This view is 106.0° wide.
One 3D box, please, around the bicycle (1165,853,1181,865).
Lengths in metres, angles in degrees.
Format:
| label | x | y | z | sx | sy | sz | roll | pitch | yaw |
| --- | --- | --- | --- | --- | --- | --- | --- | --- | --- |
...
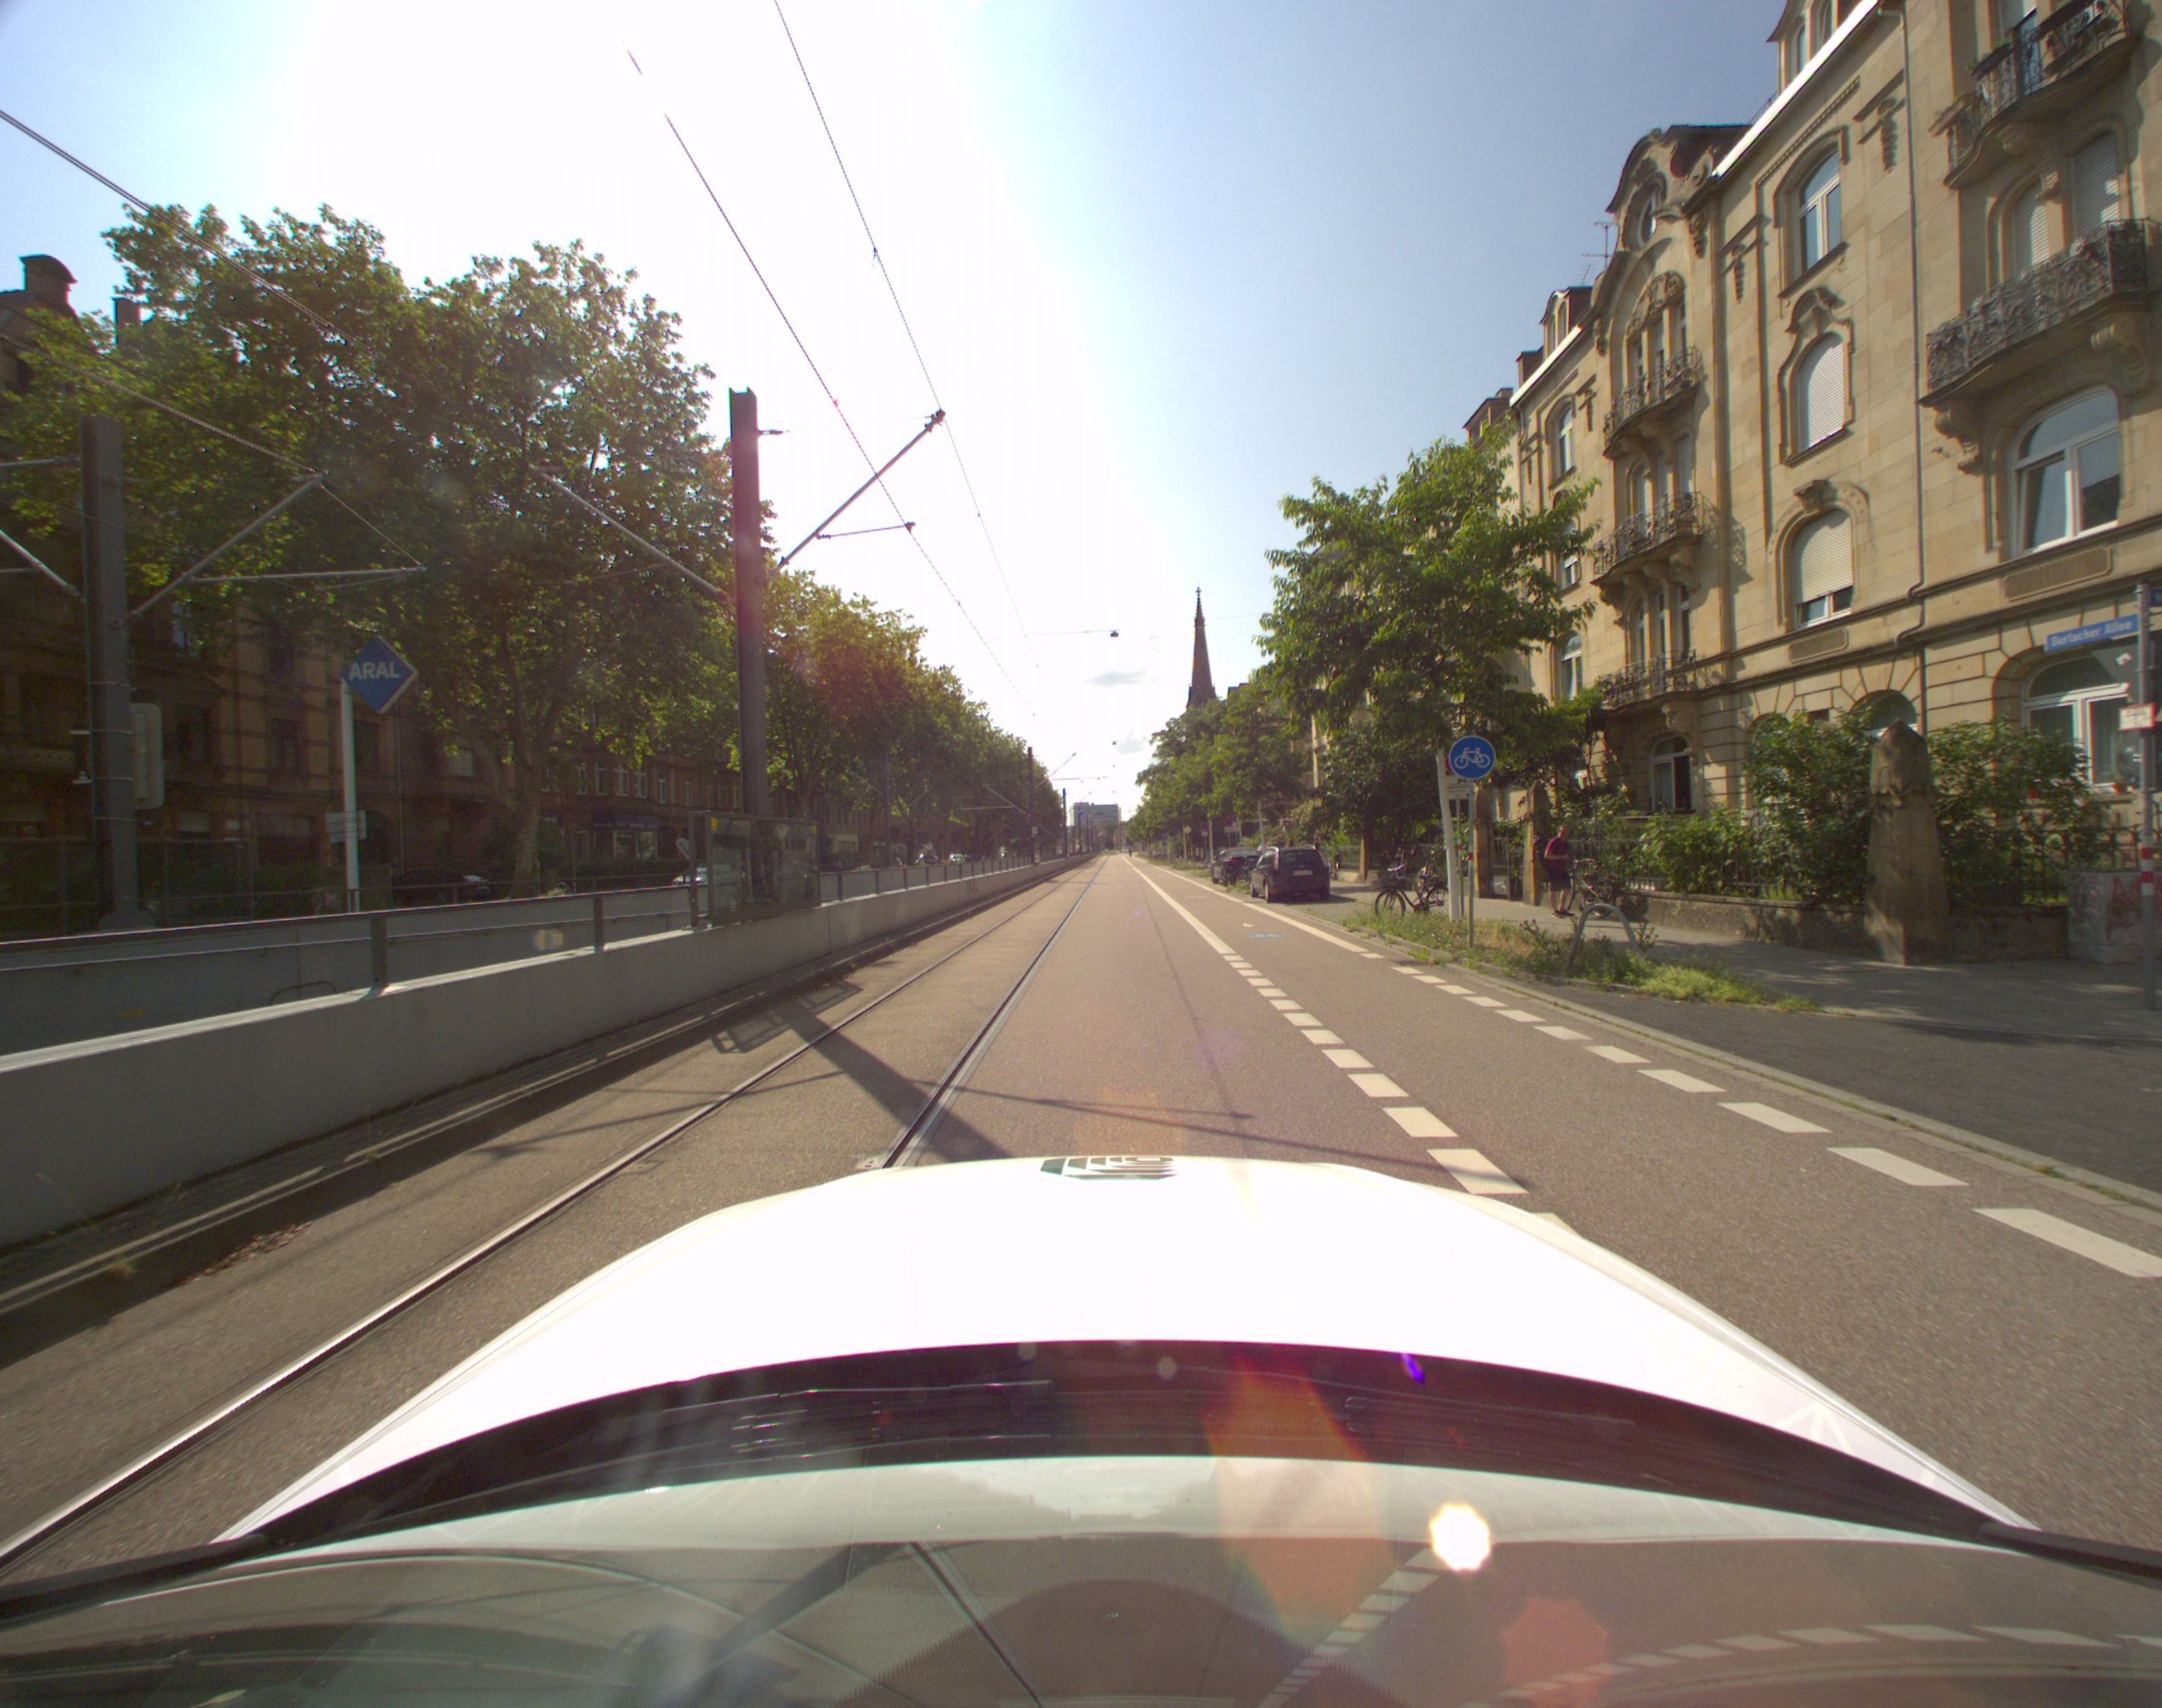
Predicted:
| label | x | y | z | sx | sy | sz | roll | pitch | yaw |
| --- | --- | --- | --- | --- | --- | --- | --- | --- | --- |
| bicycle | 8.476 | 0.495 | 75.027 | 0.651 | 1.038 | 1.810 | -4 | 0 | -19 |

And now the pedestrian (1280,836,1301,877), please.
| label | x | y | z | sx | sy | sz | roll | pitch | yaw |
| --- | --- | --- | --- | --- | --- | --- | --- | --- | --- |
| pedestrian | 8.826 | 0.091 | 34.375 | 0.530 | 1.676 | 0.571 | -4 | 0 | -16 |

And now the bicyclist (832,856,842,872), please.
| label | x | y | z | sx | sy | sz | roll | pitch | yaw |
| --- | --- | --- | --- | --- | --- | --- | --- | --- | --- |
| bicyclist | -19.903 | 0.807 | 66.401 | 0.533 | 1.232 | 0.724 | -2 | 0 | 2 |

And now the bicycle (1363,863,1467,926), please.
| label | x | y | z | sx | sy | sz | roll | pitch | yaw |
| --- | --- | --- | --- | --- | --- | --- | --- | --- | --- |
| bicycle | 6.133 | 0.727 | 14.982 | 1.702 | 1.069 | 0.470 | -2 | 0 | -4 |

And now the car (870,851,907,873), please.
| label | x | y | z | sx | sy | sz | roll | pitch | yaw |
| --- | --- | --- | --- | --- | --- | --- | --- | --- | --- |
| car | -16.554 | 0.674 | 70.178 | 1.708 | 1.691 | 3.739 | -4 | 1 | 9 |

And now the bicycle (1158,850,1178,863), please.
| label | x | y | z | sx | sy | sz | roll | pitch | yaw |
| --- | --- | --- | --- | --- | --- | --- | --- | --- | --- |
| bicycle | 8.589 | 0.282 | 80.204 | 1.816 | 1.145 | 0.649 | -4 | 0 | -9 |

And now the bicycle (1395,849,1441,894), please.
| label | x | y | z | sx | sy | sz | roll | pitch | yaw |
| --- | --- | --- | --- | --- | --- | --- | --- | --- | --- |
| bicycle | 9.234 | 0.453 | 22.381 | 0.426 | 1.139 | 2.024 | -5 | 0 | 2 |

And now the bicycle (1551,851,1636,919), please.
| label | x | y | z | sx | sy | sz | roll | pitch | yaw |
| --- | --- | --- | --- | --- | --- | --- | --- | --- | --- |
| bicycle | 9.014 | 0.510 | 14.398 | 0.468 | 1.108 | 1.712 | -2 | 0 | 2 |

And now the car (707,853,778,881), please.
| label | x | y | z | sx | sy | sz | roll | pitch | yaw |
| --- | --- | --- | --- | --- | --- | --- | --- | --- | --- |
| car | -25.338 | 0.972 | 61.060 | 4.386 | 1.918 | 2.000 | -2 | 0 | 0 |

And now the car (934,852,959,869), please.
| label | x | y | z | sx | sy | sz | roll | pitch | yaw |
| --- | --- | --- | --- | --- | --- | --- | --- | --- | --- |
| car | -15.396 | 0.767 | 93.356 | 1.831 | 1.727 | 4.003 | -4 | 0 | 2 |

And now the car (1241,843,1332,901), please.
| label | x | y | z | sx | sy | sz | roll | pitch | yaw |
| --- | --- | --- | --- | --- | --- | --- | --- | --- | --- |
| car | 5.941 | 0.477 | 24.083 | 1.679 | 1.502 | 4.711 | -2 | 0 | 3 |

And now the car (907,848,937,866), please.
| label | x | y | z | sx | sy | sz | roll | pitch | yaw |
| --- | --- | --- | --- | --- | --- | --- | --- | --- | --- |
| car | -16.602 | 0.309 | 85.206 | 1.984 | 1.636 | 4.005 | -4 | 0 | 4 |

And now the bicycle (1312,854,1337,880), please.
| label | x | y | z | sx | sy | sz | roll | pitch | yaw |
| --- | --- | --- | --- | --- | --- | --- | --- | --- | --- |
| bicycle | 9.670 | 0.508 | 32.365 | 0.426 | 0.940 | 1.808 | -5 | 0 | 2 |

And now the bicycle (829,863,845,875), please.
| label | x | y | z | sx | sy | sz | roll | pitch | yaw |
| --- | --- | --- | --- | --- | --- | --- | --- | --- | --- |
| bicycle | -19.888 | 1.184 | 66.402 | 0.533 | 0.913 | 2.150 | -2 | 0 | 2 |

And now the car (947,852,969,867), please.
| label | x | y | z | sx | sy | sz | roll | pitch | yaw |
| --- | --- | --- | --- | --- | --- | --- | --- | --- | --- |
| car | -15.609 | 0.704 | 103.385 | 1.831 | 1.727 | 4.003 | -4 | 0 | 2 |

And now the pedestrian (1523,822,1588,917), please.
| label | x | y | z | sx | sy | sz | roll | pitch | yaw |
| --- | --- | --- | --- | --- | --- | --- | --- | --- | --- |
| pedestrian | 8.507 | 0.269 | 14.629 | 0.720 | 1.629 | 0.725 | -2 | 0 | 2 |

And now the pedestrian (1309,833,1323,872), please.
| label | x | y | z | sx | sy | sz | roll | pitch | yaw |
| --- | --- | --- | --- | --- | --- | --- | --- | --- | --- |
| pedestrian | 10.329 | -0.075 | 35.784 | 0.382 | 1.706 | 0.431 | -4 | 0 | 2 |

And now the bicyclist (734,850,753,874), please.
| label | x | y | z | sx | sy | sz | roll | pitch | yaw |
| --- | --- | --- | --- | --- | --- | --- | --- | --- | --- |
| bicyclist | -20.690 | 0.501 | 49.962 | 0.686 | 1.455 | 1.045 | -2 | 0 | 2 |

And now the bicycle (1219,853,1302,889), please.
| label | x | y | z | sx | sy | sz | roll | pitch | yaw |
| --- | --- | --- | --- | --- | --- | --- | --- | --- | --- |
| bicycle | 6.739 | 0.621 | 30.565 | 2.947 | 1.246 | 0.790 | -2 | 0 | -11 |

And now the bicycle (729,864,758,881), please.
| label | x | y | z | sx | sy | sz | roll | pitch | yaw |
| --- | --- | --- | --- | --- | --- | --- | --- | --- | --- |
| bicycle | -20.675 | 1.128 | 49.872 | 0.668 | 0.913 | 2.369 | -2 | 0 | 2 |

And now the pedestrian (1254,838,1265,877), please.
| label | x | y | z | sx | sy | sz | roll | pitch | yaw |
| --- | --- | --- | --- | --- | --- | --- | --- | --- | --- |
| pedestrian | 7.804 | 0.146 | 35.586 | 0.316 | 1.706 | 0.462 | -4 | 0 | 16 |

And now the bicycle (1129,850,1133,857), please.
| label | x | y | z | sx | sy | sz | roll | pitch | yaw |
| --- | --- | --- | --- | --- | --- | --- | --- | --- | --- |
| bicycle | 9.369 | -0.115 | 153.114 | 0.796 | 1.236 | 2.780 | -2 | 0 | 3 |

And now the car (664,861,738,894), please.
| label | x | y | z | sx | sy | sz | roll | pitch | yaw |
| --- | --- | --- | --- | --- | --- | --- | --- | --- | --- |
| car | -17.697 | 1.075 | 38.105 | 1.490 | 1.303 | 3.496 | -4 | 0 | 5 |

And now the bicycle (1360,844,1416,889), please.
| label | x | y | z | sx | sy | sz | roll | pitch | yaw |
| --- | --- | --- | --- | --- | --- | --- | --- | --- | --- |
| bicycle | 9.450 | 0.358 | 25.234 | 0.655 | 1.248 | 2.945 | -5 | 0 | 2 |

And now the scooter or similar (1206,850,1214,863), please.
| label | x | y | z | sx | sy | sz | roll | pitch | yaw |
| --- | --- | --- | --- | --- | --- | --- | --- | --- | --- |
| scooter or similar | 12.058 | 0.205 | 76.225 | 0.459 | 1.158 | 1.574 | -3 | 0 | 3 |

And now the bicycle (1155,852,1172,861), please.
| label | x | y | z | sx | sy | sz | roll | pitch | yaw |
| --- | --- | --- | --- | --- | --- | --- | --- | --- | --- |
| bicycle | 9.420 | 0.301 | 92.833 | 1.811 | 0.902 | 0.651 | -4 | 0 | -2 |

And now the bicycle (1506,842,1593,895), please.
| label | x | y | z | sx | sy | sz | roll | pitch | yaw |
| --- | --- | --- | --- | --- | --- | --- | --- | --- | --- |
| bicycle | 10.842 | 0.320 | 18.851 | 1.702 | 1.069 | 0.470 | -5 | 0 | -4 |

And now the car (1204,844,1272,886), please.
| label | x | y | z | sx | sy | sz | roll | pitch | yaw |
| --- | --- | --- | --- | --- | --- | --- | --- | --- | --- |
| car | 6.476 | 0.435 | 34.096 | 1.793 | 1.526 | 4.487 | -4 | 0 | -1 |

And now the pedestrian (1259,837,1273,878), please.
| label | x | y | z | sx | sy | sz | roll | pitch | yaw |
| --- | --- | --- | --- | --- | --- | --- | --- | --- | --- |
| pedestrian | 8.299 | 0.158 | 36.535 | 0.457 | 1.804 | 0.319 | -4 | 0 | 0 |

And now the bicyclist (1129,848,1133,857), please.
| label | x | y | z | sx | sy | sz | roll | pitch | yaw |
| --- | --- | --- | --- | --- | --- | --- | --- | --- | --- |
| bicyclist | 9.361 | -0.312 | 153.060 | 0.767 | 1.730 | 1.027 | -2 | 0 | 3 |

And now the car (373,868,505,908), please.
| label | x | y | z | sx | sy | sz | roll | pitch | yaw |
| --- | --- | --- | --- | --- | --- | --- | --- | --- | --- |
| car | -26.690 | 1.396 | 33.948 | 3.969 | 1.483 | 2.002 | -2 | 0 | 4 |

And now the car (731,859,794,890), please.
| label | x | y | z | sx | sy | sz | roll | pitch | yaw |
| --- | --- | --- | --- | --- | --- | --- | --- | --- | --- |
| car | -17.427 | 1.081 | 44.714 | 1.637 | 1.482 | 4.004 | -4 | 0 | 2 |

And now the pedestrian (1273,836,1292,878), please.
| label | x | y | z | sx | sy | sz | roll | pitch | yaw |
| --- | --- | --- | --- | --- | --- | --- | --- | --- | --- |
| pedestrian | 8.906 | 0.117 | 35.986 | 0.667 | 1.804 | 0.319 | -4 | 0 | 0 |

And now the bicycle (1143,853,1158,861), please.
| label | x | y | z | sx | sy | sz | roll | pitch | yaw |
| --- | --- | --- | --- | --- | --- | --- | --- | --- | --- |
| bicycle | 9.323 | 0.350 | 109.035 | 1.811 | 0.902 | 0.603 | -4 | 0 | -2 |
